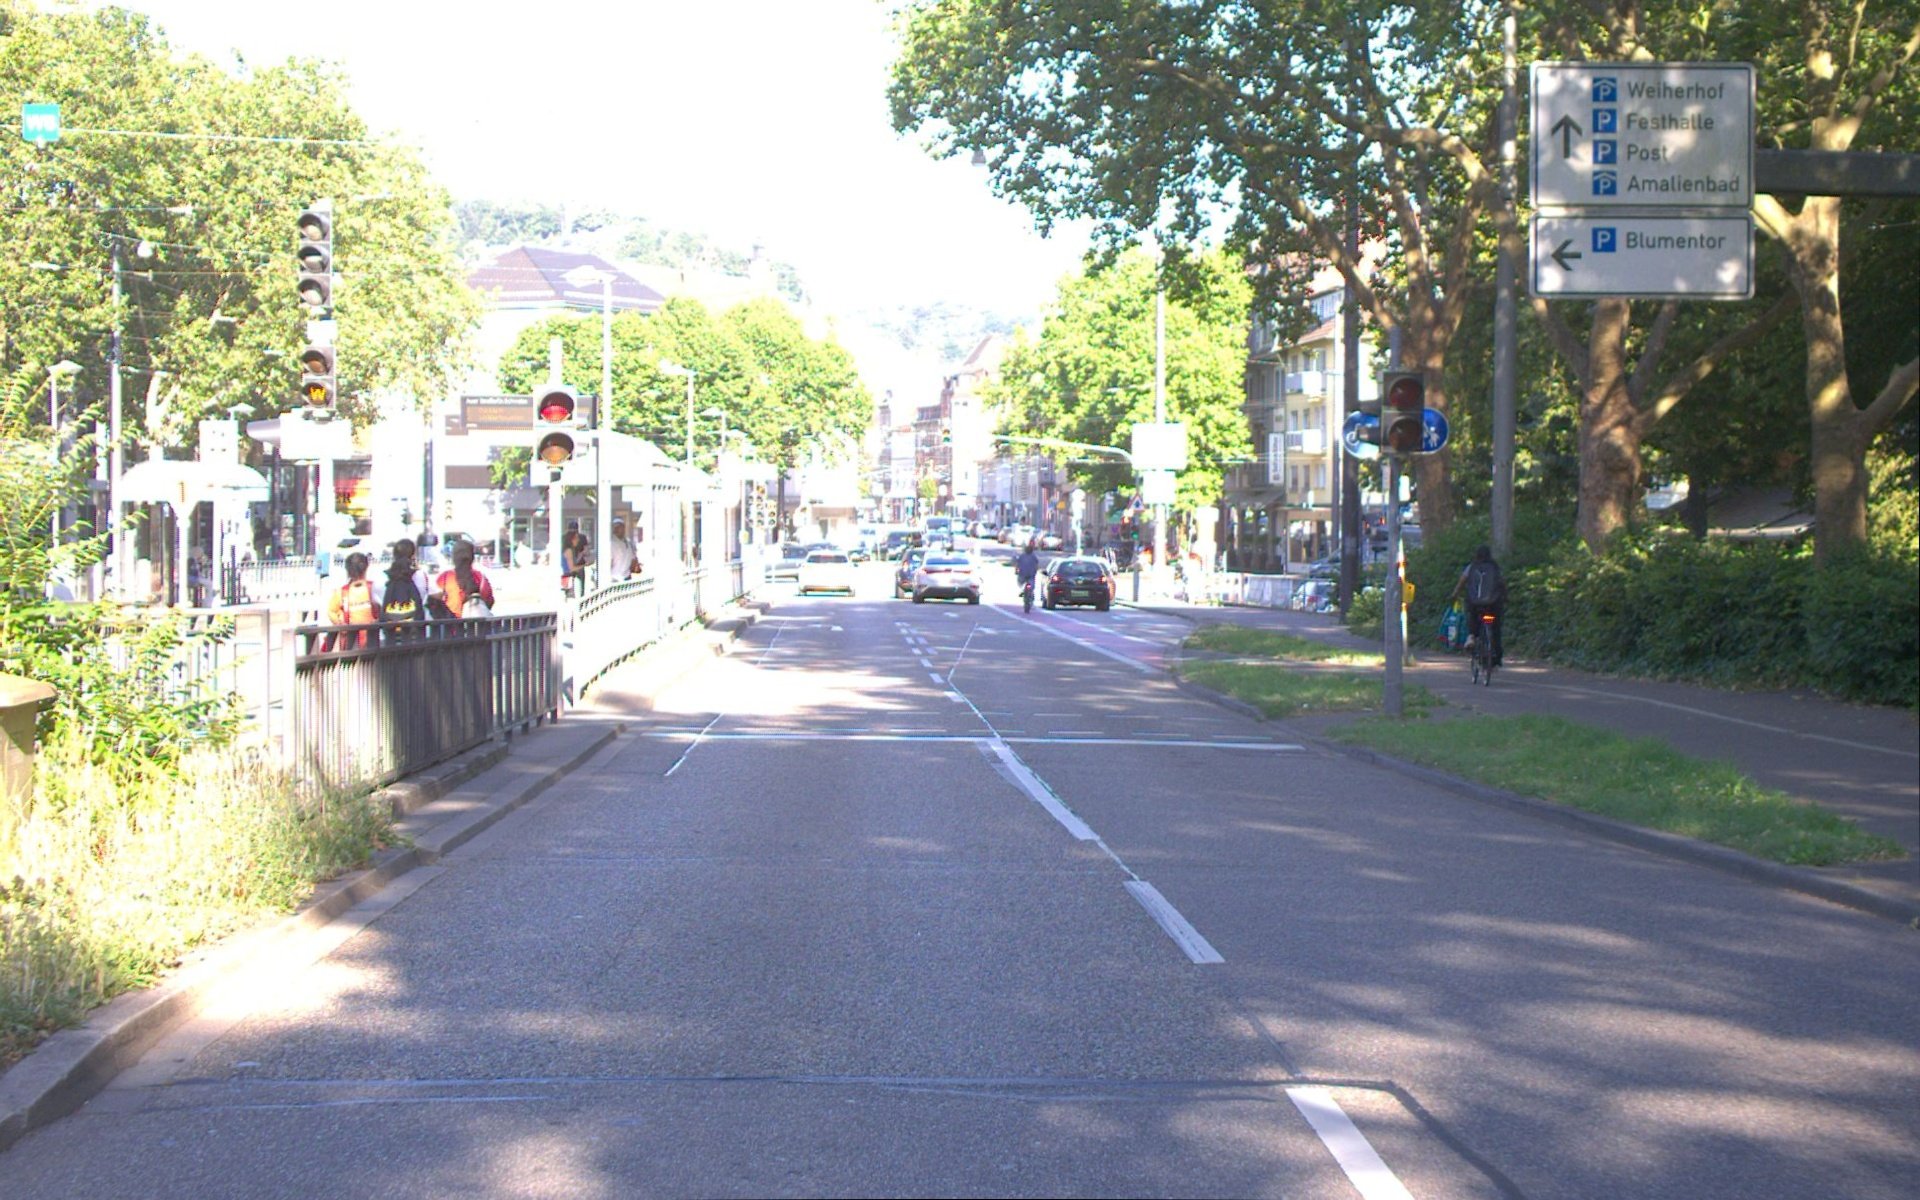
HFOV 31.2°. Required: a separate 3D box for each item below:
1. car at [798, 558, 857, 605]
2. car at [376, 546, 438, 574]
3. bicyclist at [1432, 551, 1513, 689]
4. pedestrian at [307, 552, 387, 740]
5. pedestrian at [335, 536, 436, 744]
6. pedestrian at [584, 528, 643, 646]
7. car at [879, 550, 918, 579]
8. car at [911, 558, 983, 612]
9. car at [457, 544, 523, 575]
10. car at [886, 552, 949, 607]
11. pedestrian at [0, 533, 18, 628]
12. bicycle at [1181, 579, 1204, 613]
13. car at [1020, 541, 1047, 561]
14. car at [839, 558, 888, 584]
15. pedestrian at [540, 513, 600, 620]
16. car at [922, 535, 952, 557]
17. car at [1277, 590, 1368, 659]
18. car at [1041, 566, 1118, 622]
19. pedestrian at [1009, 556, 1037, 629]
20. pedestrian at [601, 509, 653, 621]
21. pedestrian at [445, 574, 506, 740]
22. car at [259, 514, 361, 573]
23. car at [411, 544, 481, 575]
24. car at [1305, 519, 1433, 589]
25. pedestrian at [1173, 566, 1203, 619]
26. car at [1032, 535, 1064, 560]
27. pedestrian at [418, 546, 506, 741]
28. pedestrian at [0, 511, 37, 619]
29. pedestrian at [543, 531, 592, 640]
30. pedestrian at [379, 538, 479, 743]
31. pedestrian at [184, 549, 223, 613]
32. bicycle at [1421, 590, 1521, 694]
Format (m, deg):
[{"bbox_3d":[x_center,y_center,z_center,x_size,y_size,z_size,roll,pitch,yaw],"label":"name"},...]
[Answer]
[{"bbox_3d":[-4.262,-0.610,109.926,1.808,1.447,4.001,1,1,-3],"label":"car"},{"bbox_3d":[-30.513,-2.206,189.893,1.796,1.505,4.007,1,1,17],"label":"car"},{"bbox_3d":[5.700,0.219,38.257,0.766,1.508,0.650,1,1,-2],"label":"bicyclist"},{"bbox_3d":[-4.886,0.362,27.416,0.520,1.467,0.514,-1,0,-1],"label":"pedestrian"},{"bbox_3d":[-4.367,0.299,26.147,0.520,1.563,0.507,-1,0,28],"label":"pedestrian"},{"bbox_3d":[-5.071,-0.191,50.343,0.742,1.688,0.791,2,0,-1],"label":"pedestrian"},{"bbox_3d":[-3.902,-2.254,218.279,1.795,1.820,3.999,1,1,8],"label":"car"},{"bbox_3d":[-0.415,-0.457,100.844,1.929,1.467,4.855,1,1,-2],"label":"car"},{"bbox_3d":[-25.588,-2.189,187.306,1.923,1.643,4.176,1,1,19],"label":"car"},{"bbox_3d":[-1.362,-0.659,108.242,1.800,1.632,4.046,1,1,-3],"label":"car"},{"bbox_3d":[-15.787,-0.331,56.180,0.592,1.538,0.627,2,0,-2],"label":"pedestrian"},{"bbox_3d":[7.538,-0.117,111.532,0.498,1.071,1.800,2,0,-2],"label":"bicycle"},{"bbox_3d":[5.560,-3.721,261.333,1.794,1.505,4.001,1,1,-2],"label":"car"},{"bbox_3d":[-5.908,-1.782,210.789,1.796,1.505,3.997,1,0,17],"label":"car"},{"bbox_3d":[-6.412,-0.554,56.509,0.651,1.716,0.710,2,0,-37],"label":"pedestrian"},{"bbox_3d":[-1.564,-3.654,232.945,1.794,1.505,4.001,1,1,-3],"label":"car"},{"bbox_3d":[10.442,0.678,99.224,1.794,1.891,4.360,2,0,-4],"label":"car"},{"bbox_3d":[3.316,-0.186,95.900,1.800,1.434,4.045,2,1,-2],"label":"car"},{"bbox_3d":[1.634,-0.196,88.863,0.657,1.864,0.678,1,1,-2],"label":"pedestrian"},{"bbox_3d":[-5.542,-0.579,57.212,0.651,1.835,0.710,2,0,8],"label":"pedestrian"},{"bbox_3d":[-3.892,0.451,27.635,0.416,1.316,0.359,-1,0,-2],"label":"pedestrian"},{"bbox_3d":[-36.204,-3.132,191.620,2.498,3.154,6.528,1,1,21],"label":"car"},{"bbox_3d":[-28.070,-2.222,187.944,1.797,1.643,4.004,1,1,27],"label":"car"},{"bbox_3d":[16.840,-1.889,141.557,5.017,2.733,2.073,1,0,12],"label":"car"},{"bbox_3d":[6.817,-0.215,102.775,0.648,1.558,0.631,4,1,17],"label":"pedestrian"},{"bbox_3d":[6.519,-3.885,254.827,2.104,1.770,4.342,1,1,-2],"label":"car"},{"bbox_3d":[-3.934,0.340,27.163,0.589,1.514,0.514,-1,0,-1],"label":"pedestrian"},{"bbox_3d":[-15.739,-0.580,56.951,0.648,1.766,0.650,2,0,1],"label":"pedestrian"},{"bbox_3d":[-5.732,-0.220,50.214,0.588,1.561,0.650,2,0,-1],"label":"pedestrian"},{"bbox_3d":[-4.101,0.308,26.561,0.520,1.563,0.507,-1,0,28],"label":"pedestrian"},{"bbox_3d":[-16.021,-0.411,72.819,0.669,1.320,0.757,-2,1,-4],"label":"pedestrian"},{"bbox_3d":[5.698,0.456,38.425,0.766,1.104,1.800,1,1,-2],"label":"bicycle"}]
